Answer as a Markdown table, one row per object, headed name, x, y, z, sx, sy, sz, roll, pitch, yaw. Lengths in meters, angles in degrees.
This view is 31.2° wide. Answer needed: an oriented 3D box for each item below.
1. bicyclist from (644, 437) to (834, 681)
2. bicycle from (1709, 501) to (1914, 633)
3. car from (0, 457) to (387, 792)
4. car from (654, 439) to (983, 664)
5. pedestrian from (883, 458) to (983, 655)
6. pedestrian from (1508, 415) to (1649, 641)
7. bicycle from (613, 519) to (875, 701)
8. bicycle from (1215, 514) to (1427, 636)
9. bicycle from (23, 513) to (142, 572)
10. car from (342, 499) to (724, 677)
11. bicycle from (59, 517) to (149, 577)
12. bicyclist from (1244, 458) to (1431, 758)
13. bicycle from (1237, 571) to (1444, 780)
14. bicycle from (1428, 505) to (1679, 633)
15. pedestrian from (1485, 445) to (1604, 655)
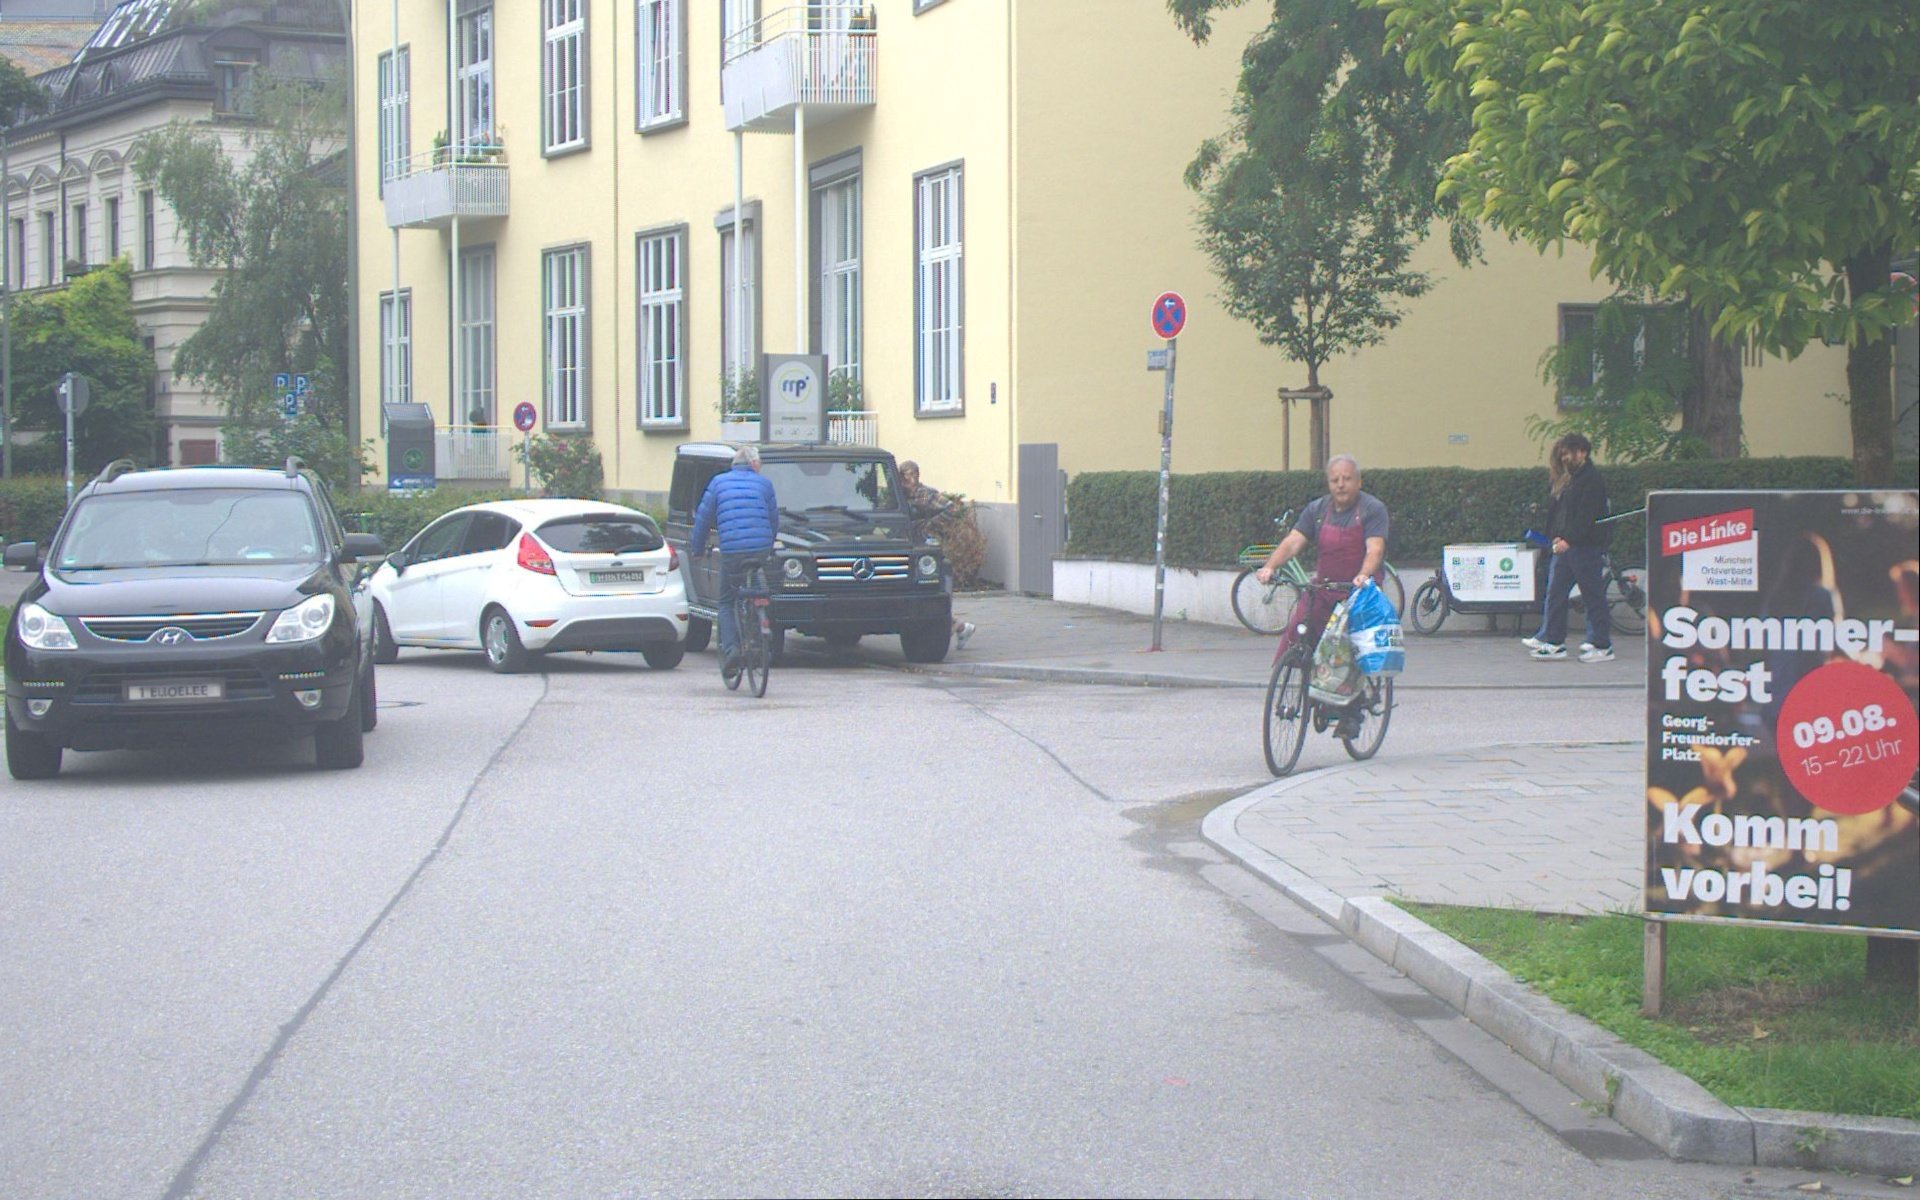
| name | x | y | z | sx | sy | sz | roll | pitch | yaw |
| --- | --- | --- | --- | --- | --- | --- | --- | --- | --- |
| bicyclist | -1.654 | -0.326 | 25.615 | 0.914 | 1.758 | 1.215 | -2 | 3 | -33 |
| bicycle | 7.486 | -0.295 | 30.241 | 1.682 | 1.126 | 0.460 | -1 | 2 | -4 |
| car | -4.454 | 0.028 | 20.279 | 1.993 | 1.713 | 4.617 | -1 | 3 | -8 |
| car | -1.387 | -0.512 | 31.520 | 1.873 | 1.881 | 4.620 | -1 | 3 | -17 |
| pedestrian | -0.251 | -0.411 | 31.383 | 0.848 | 1.751 | 0.954 | -1 | 3 | -2 |
| pedestrian | 5.033 | -0.594 | 28.009 | 0.989 | 1.803 | 0.660 | -1 | 2 | -4 |
| bicycle | -1.635 | 0.042 | 25.587 | 0.921 | 1.248 | 2.321 | -2 | 3 | -33 |
| bicycle | 3.324 | -0.221 | 31.744 | 1.948 | 1.081 | 0.528 | -1 | 1 | 39 |
| bicycle | -15.627 | -1.030 | 61.225 | 1.972 | 1.025 | 0.619 | -2 | 2 | -41 |
| car | -3.772 | -0.156 | 29.912 | 1.748 | 1.401 | 3.727 | -2 | 3 | -35 |
| bicycle | -15.302 | -0.959 | 61.497 | 1.534 | 1.011 | 0.409 | -4 | 4 | -44 |
| bicyclist | 2.103 | 0.024 | 19.045 | 0.876 | 1.603 | 1.049 | 0 | 3 | 15 |
| bicycle | 2.155 | 0.387 | 19.197 | 0.877 | 1.016 | 2.190 | 0 | 3 | 13 |
| bicycle | 5.284 | -0.278 | 30.601 | 2.169 | 1.111 | 0.640 | 0 | 2 | 13 |
| pedestrian | 4.932 | -0.436 | 29.057 | 0.826 | 1.740 | 0.741 | -1 | 2 | -5 |
